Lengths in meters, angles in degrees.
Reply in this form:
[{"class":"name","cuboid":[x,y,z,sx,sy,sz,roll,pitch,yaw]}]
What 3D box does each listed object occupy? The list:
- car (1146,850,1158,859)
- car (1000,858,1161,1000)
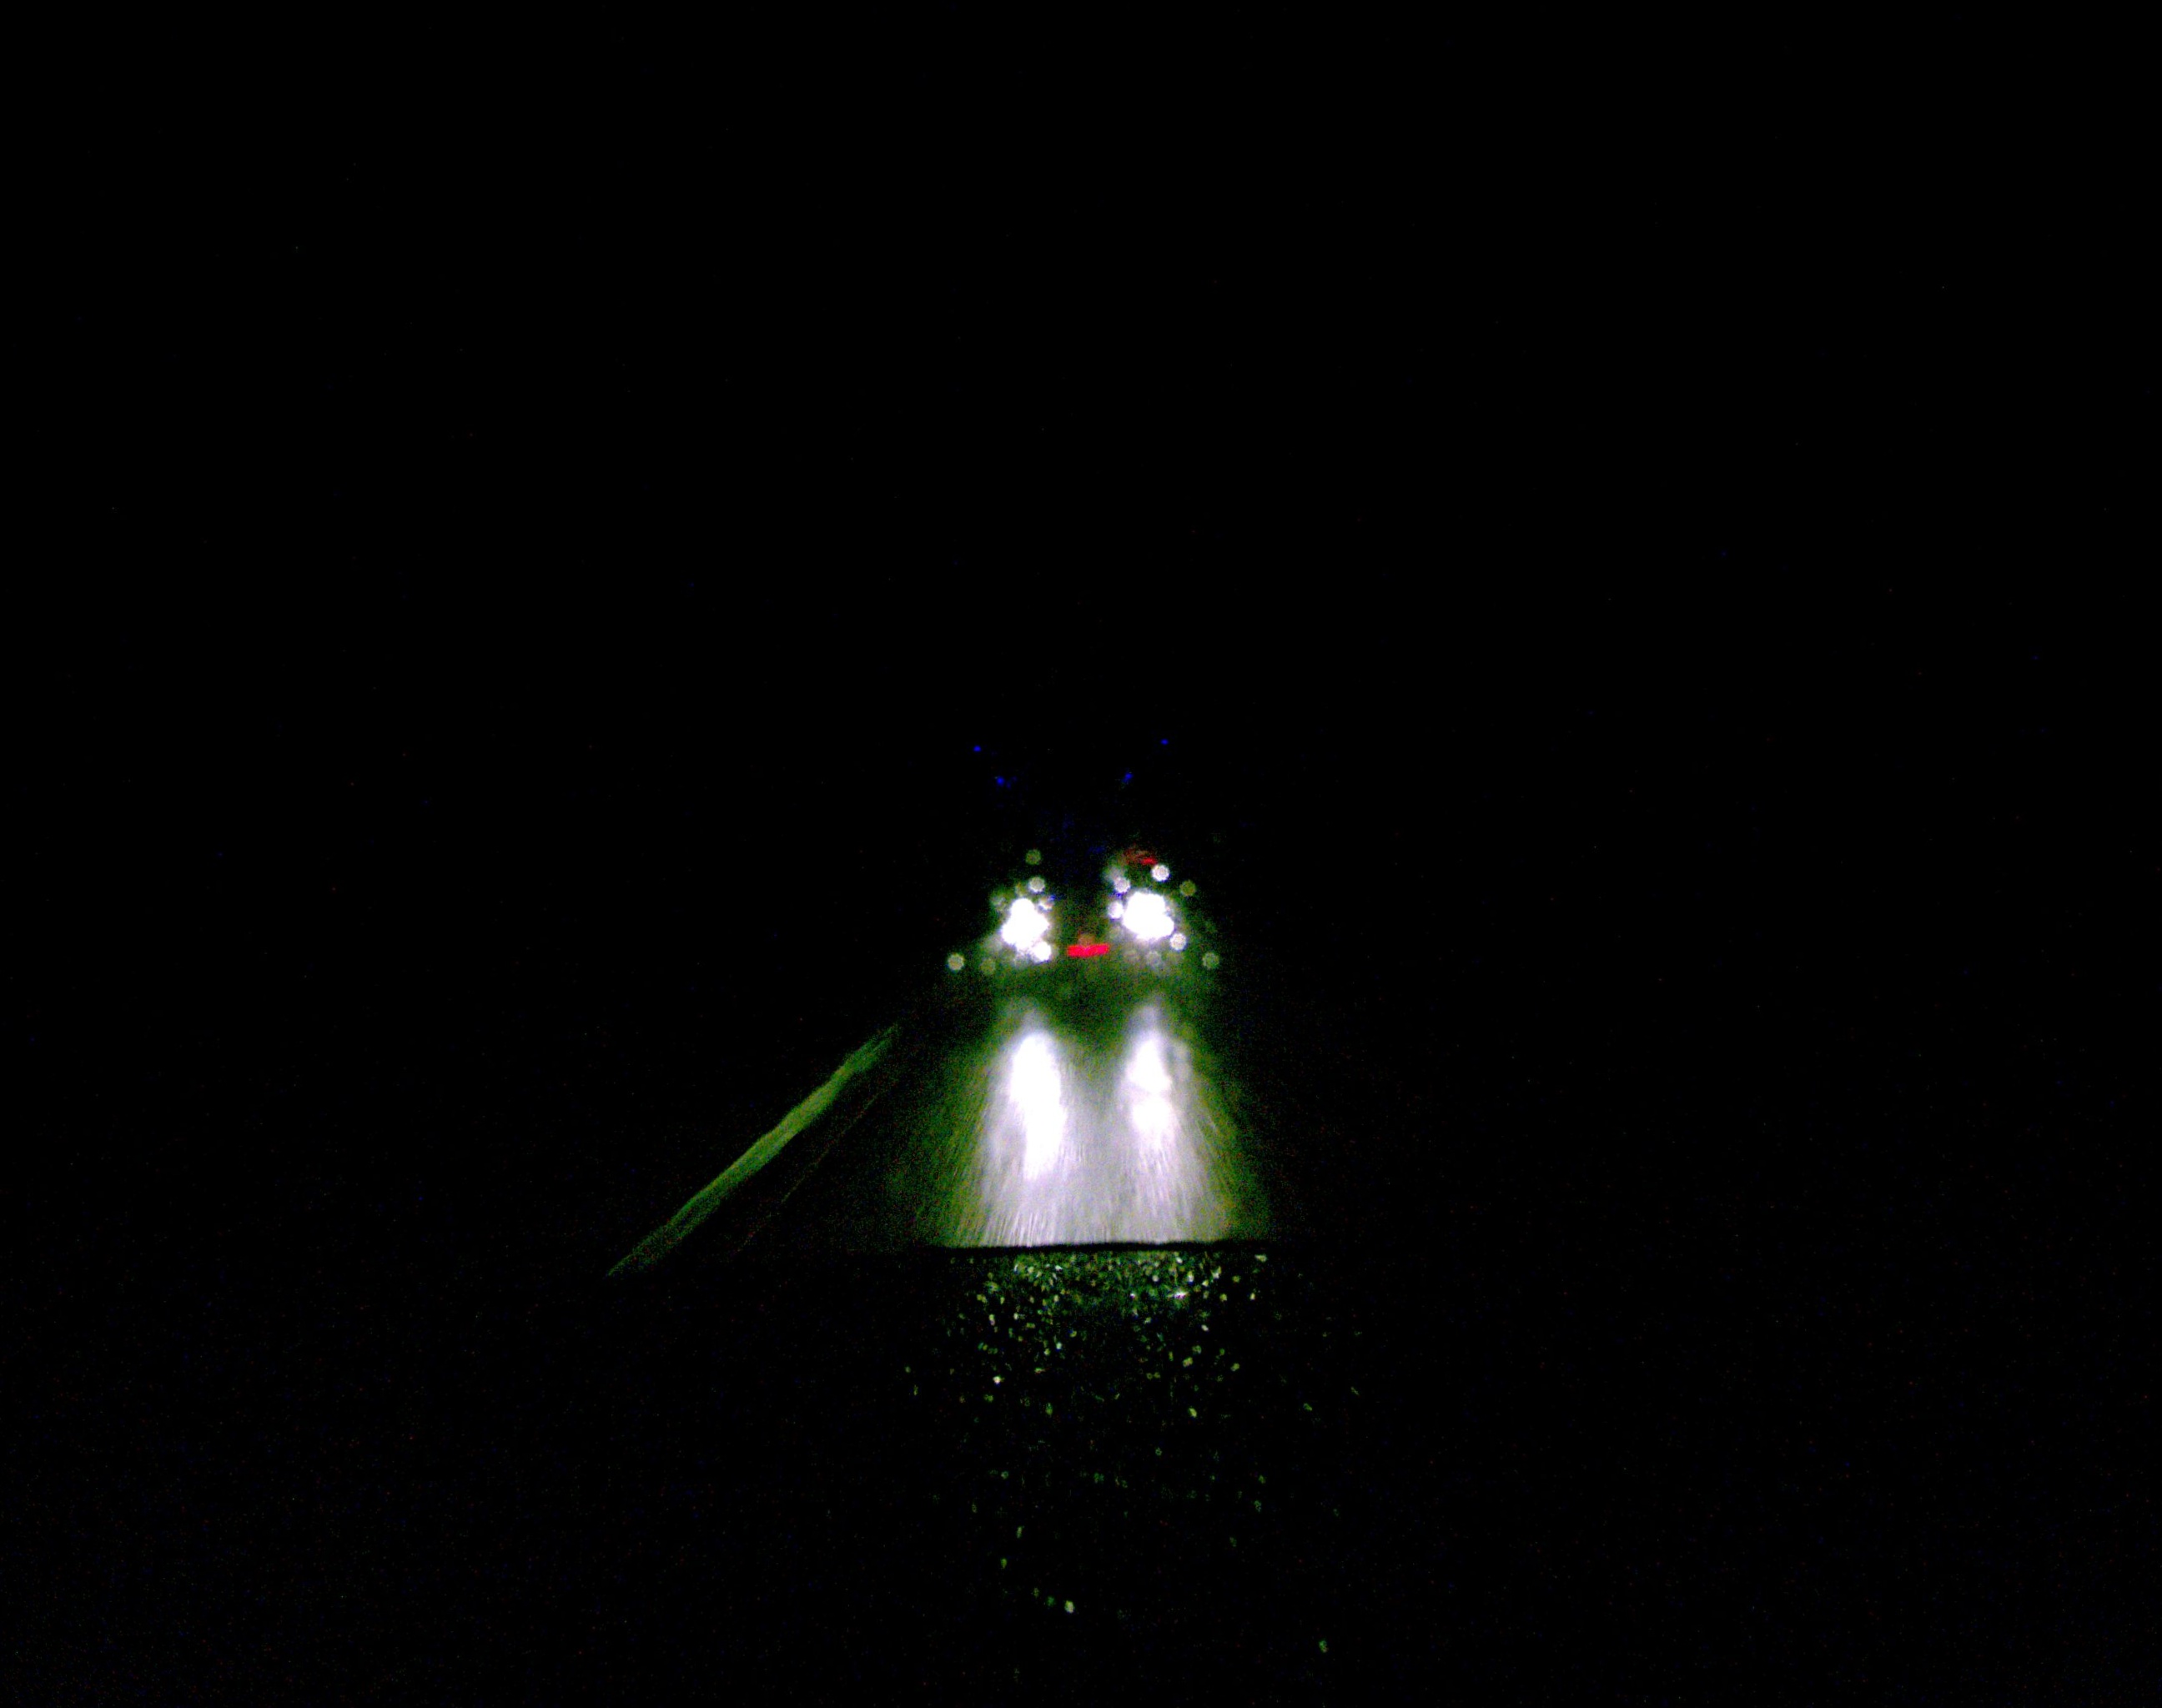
[{"class":"car","cuboid":[13.400,0.179,143.593,1.867,1.535,4.230,-2,-1,1]},{"class":"car","cuboid":[0.103,0.919,11.331,1.862,1.601,4.420,-3,0,3]}]
